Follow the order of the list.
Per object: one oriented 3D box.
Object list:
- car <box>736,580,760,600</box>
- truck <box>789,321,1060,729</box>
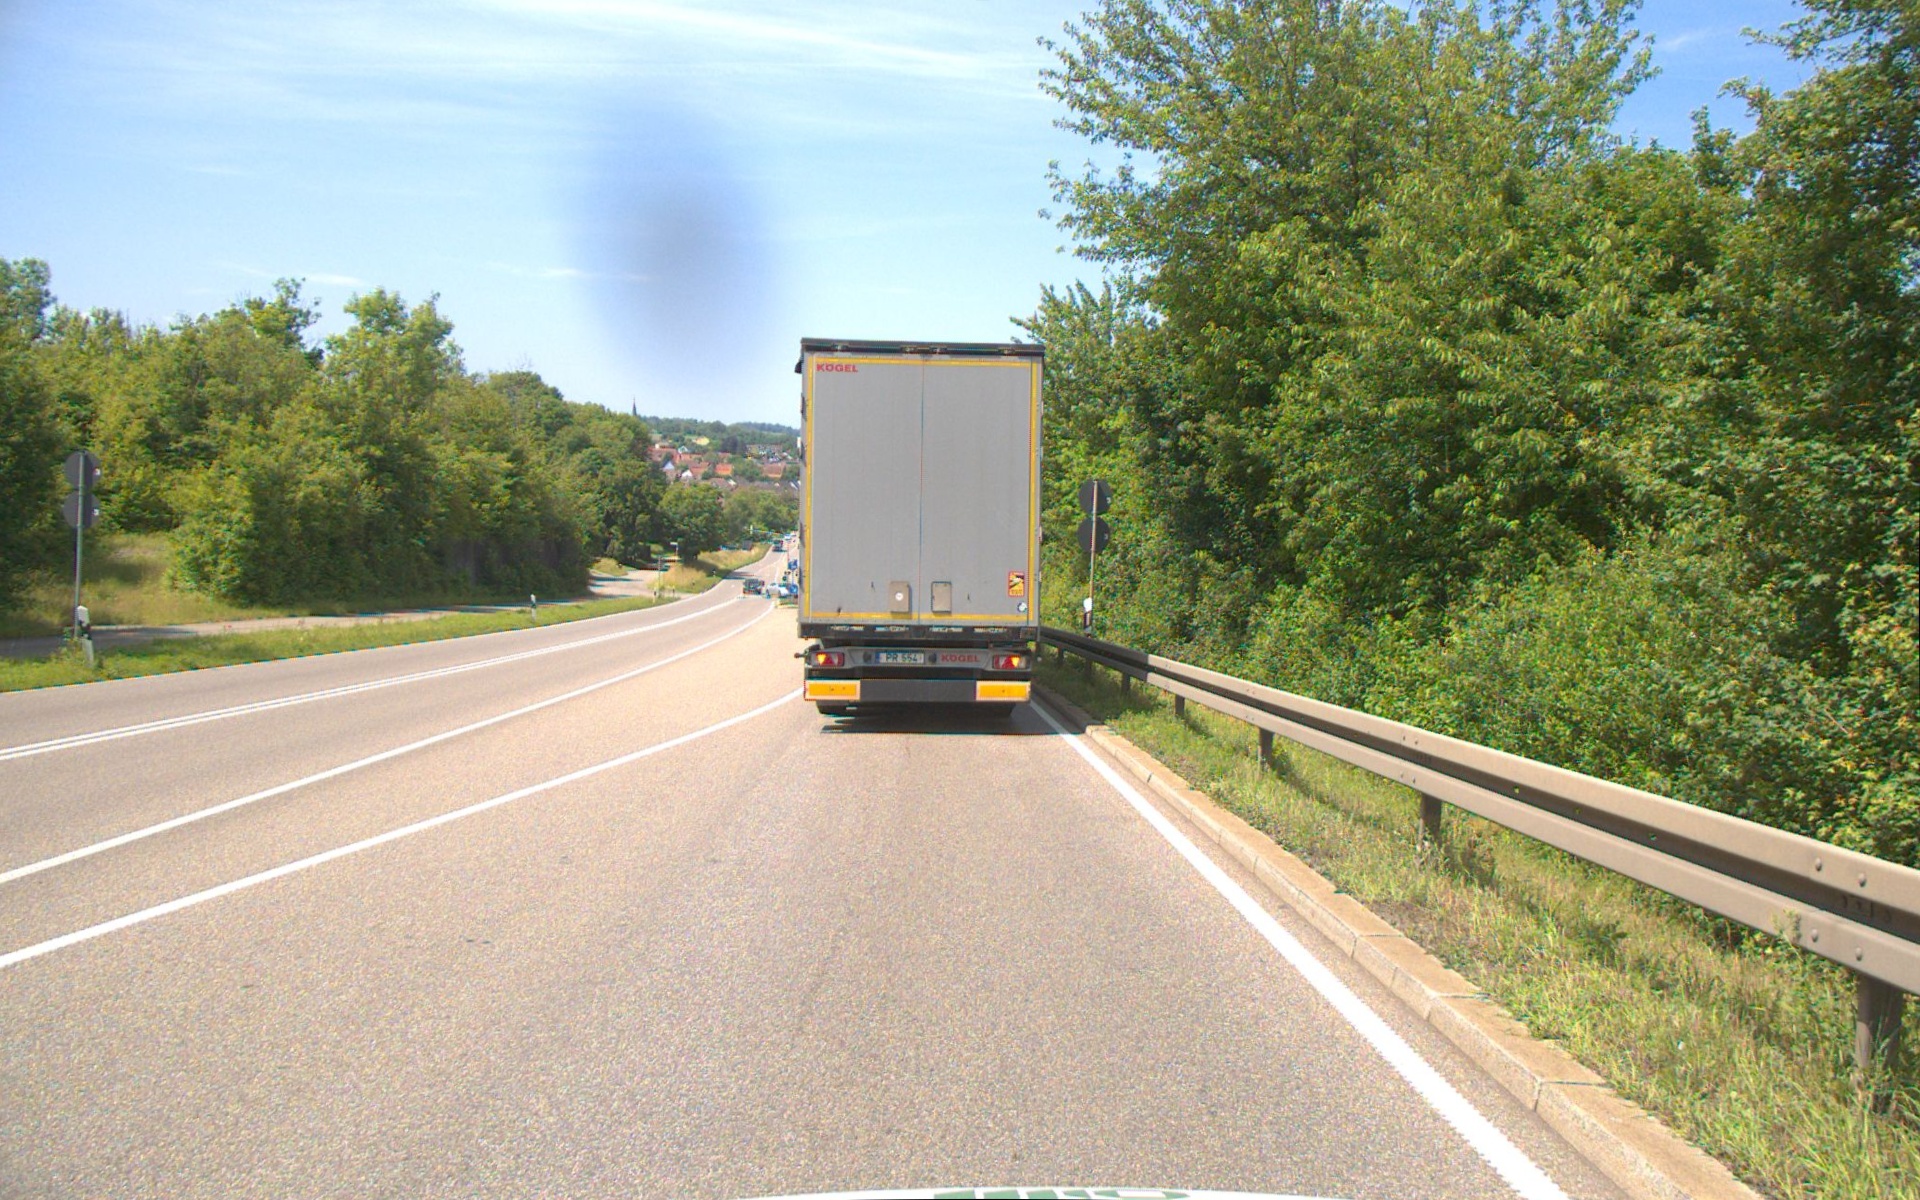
[{"bbox_3d":[-20.865,-0.965,162.575,1.776,1.825,3.825,1,0,-16],"label":"car"},{"bbox_3d":[-0.524,-0.808,22.719,2.701,4.100,11.920,1,0,-2],"label":"truck"}]
